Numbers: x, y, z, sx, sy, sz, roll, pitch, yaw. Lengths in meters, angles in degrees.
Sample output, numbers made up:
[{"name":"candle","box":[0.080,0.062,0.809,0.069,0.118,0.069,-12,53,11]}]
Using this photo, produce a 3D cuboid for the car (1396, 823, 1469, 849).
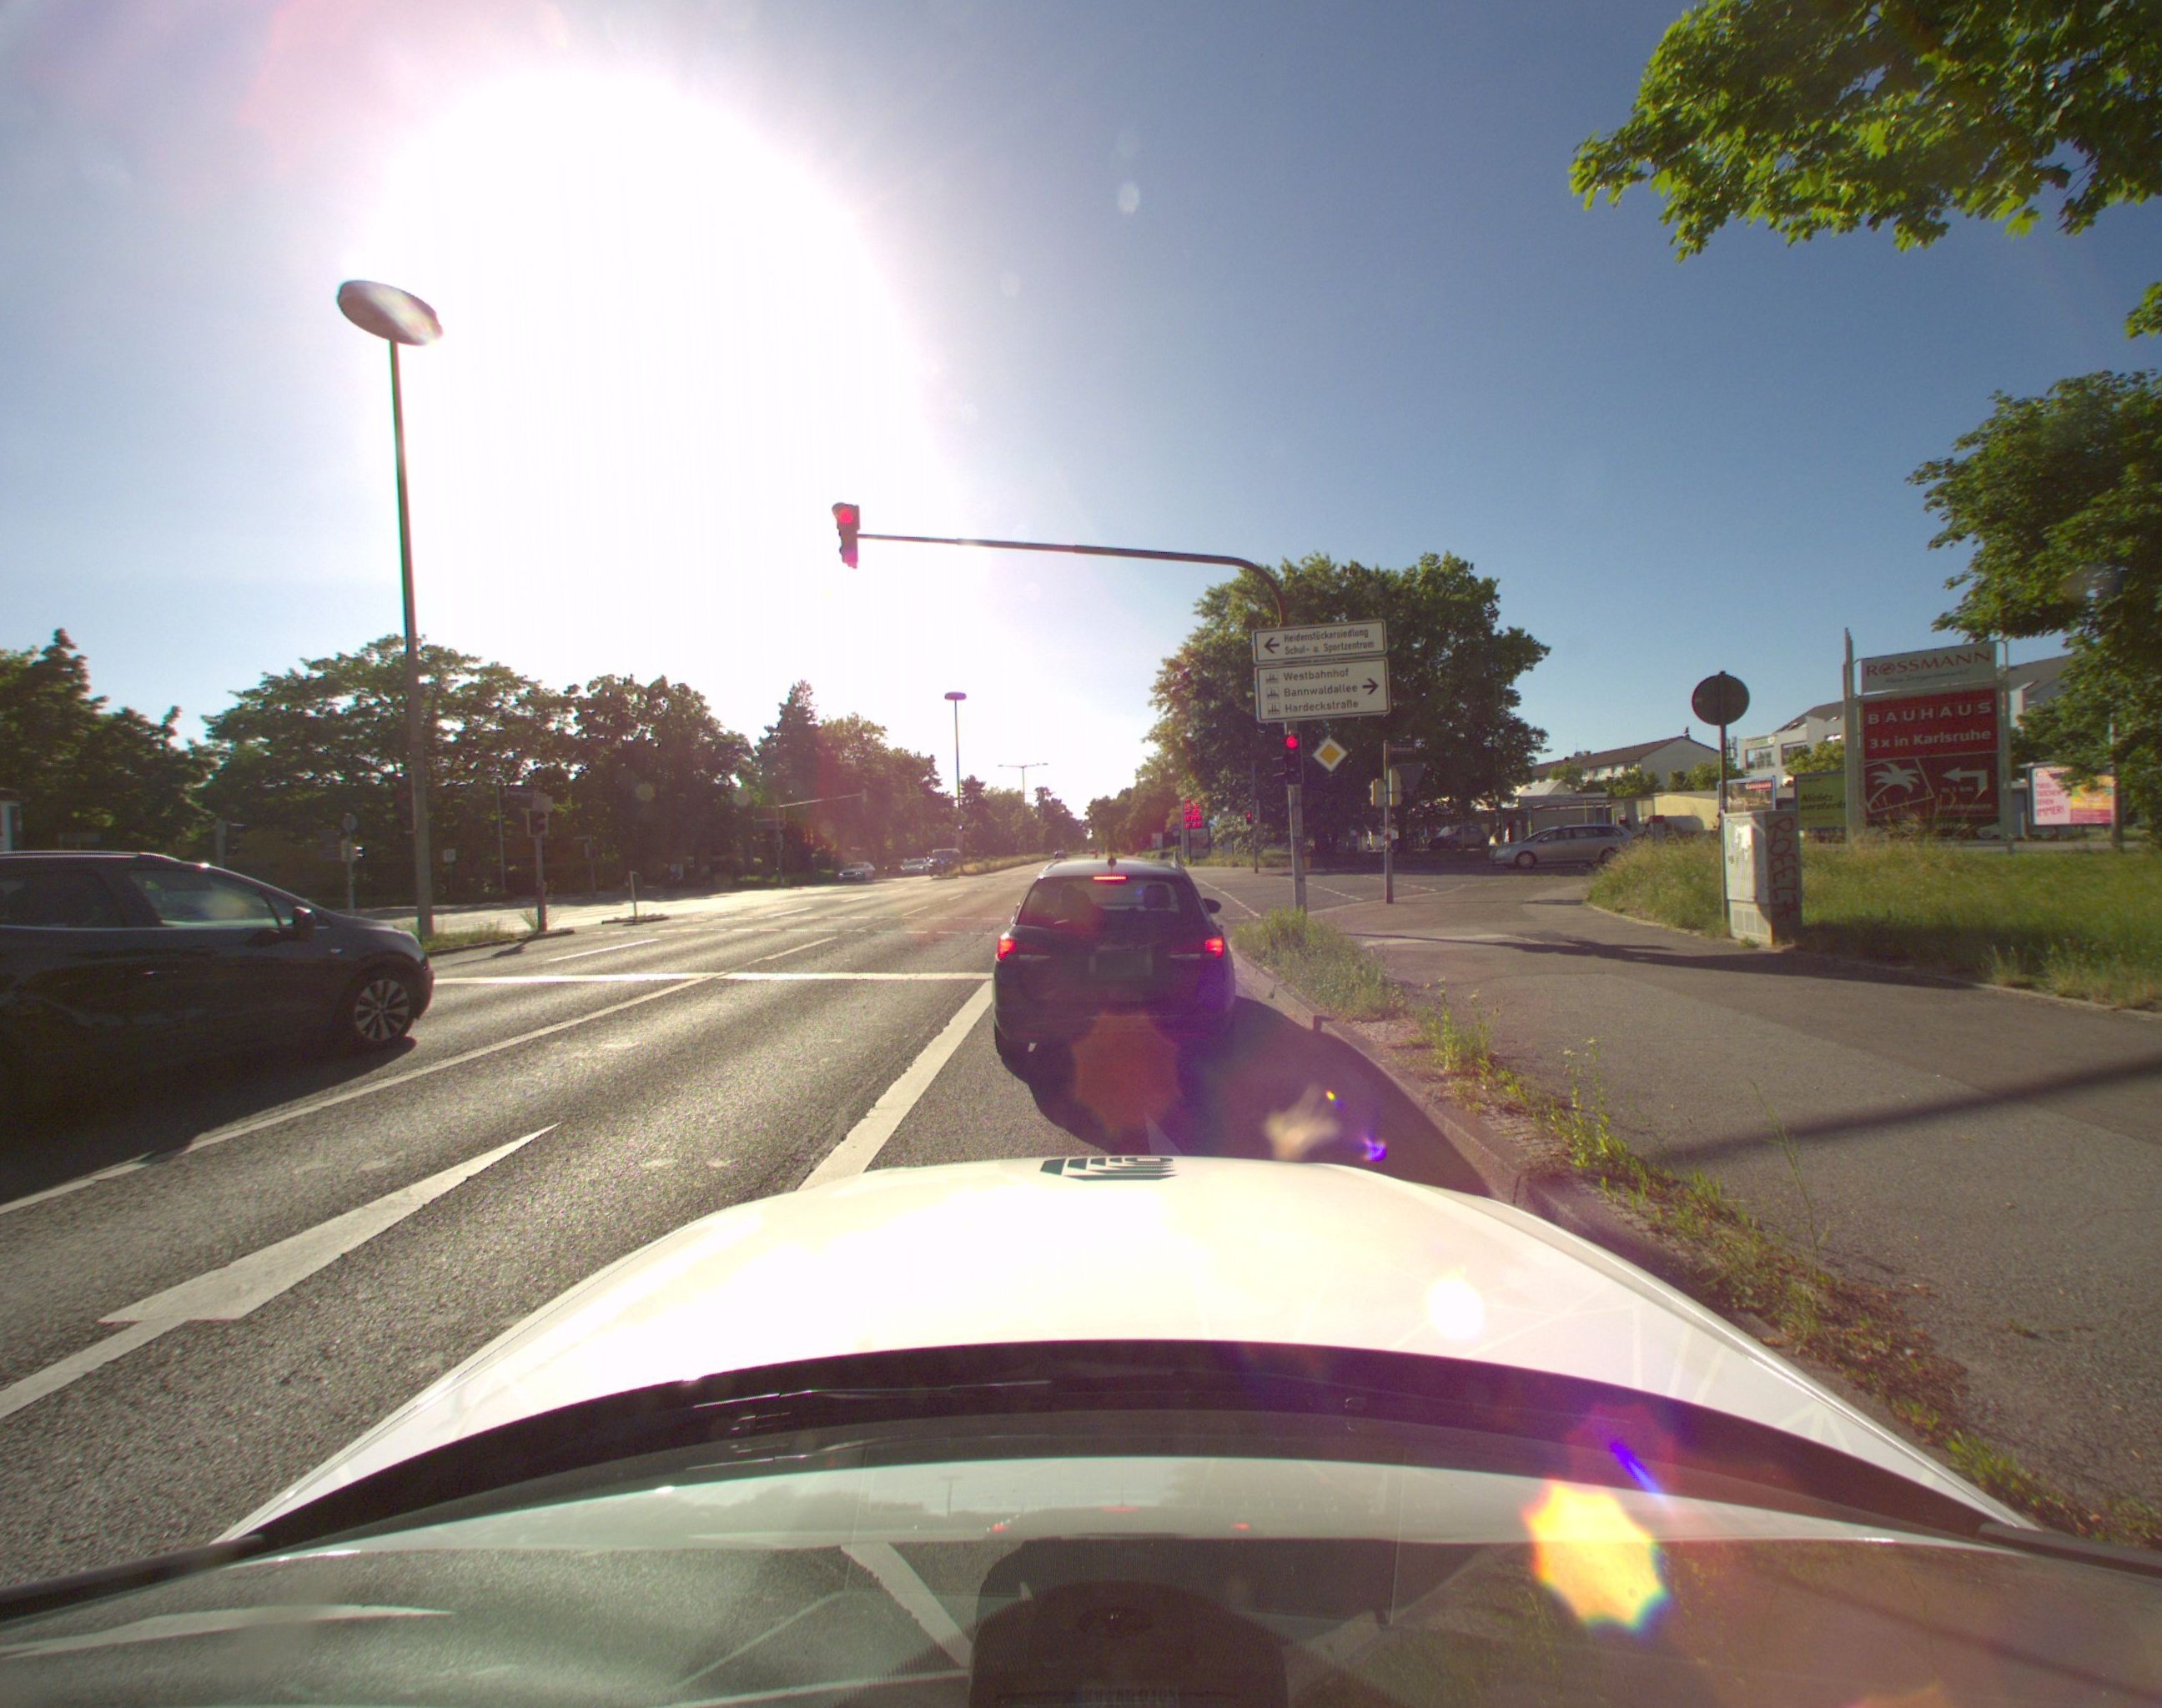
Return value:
[{"name":"car","box":[21.426,-1.069,49.652,3.846,1.482,1.794,0,0,-18]}]

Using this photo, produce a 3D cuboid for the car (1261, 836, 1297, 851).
[{"name":"car","box":[22.384,-1.136,92.092,3.701,1.685,1.703,0,0,-1]}]

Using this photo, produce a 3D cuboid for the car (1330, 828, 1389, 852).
[{"name":"car","box":[19.400,-0.968,56.685,3.860,1.563,1.787,0,-1,-31]}]

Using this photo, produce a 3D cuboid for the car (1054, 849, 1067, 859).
[{"name":"car","box":[-3.302,0.037,133.204,1.881,1.552,4.001,-2,0,2]}]

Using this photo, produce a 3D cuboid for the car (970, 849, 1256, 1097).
[{"name":"car","box":[0.253,0.753,6.992,1.749,1.509,3.810,-1,0,1]}]

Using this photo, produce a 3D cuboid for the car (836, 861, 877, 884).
[{"name":"car","box":[-17.252,1.395,62.758,1.857,1.684,4.262,-1,0,2]}]

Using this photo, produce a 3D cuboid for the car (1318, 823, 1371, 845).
[{"name":"car","box":[20.967,-1.598,64.954,3.701,1.685,1.703,0,0,-1]}]

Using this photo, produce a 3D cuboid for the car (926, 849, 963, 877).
[{"name":"car","box":[-10.169,0.679,61.020,1.986,2.014,4.001,0,0,2]}]

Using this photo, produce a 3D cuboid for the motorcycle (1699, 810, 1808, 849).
[{"name":"motorcycle","box":[22.575,-0.808,27.400,2.703,1.270,0.838,0,-1,17]}]

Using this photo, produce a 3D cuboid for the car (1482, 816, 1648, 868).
[{"name":"car","box":[16.913,-0.387,28.712,4.586,1.574,2.007,-2,-1,13]}]

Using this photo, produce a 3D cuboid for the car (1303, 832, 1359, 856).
[{"name":"car","box":[18.165,-0.708,59.185,3.729,1.685,1.690,0,-1,-25]}]

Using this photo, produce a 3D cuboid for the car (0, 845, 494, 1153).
[{"name":"car","box":[-6.541,0.796,5.572,1.689,1.632,4.419,-2,0,2]}]

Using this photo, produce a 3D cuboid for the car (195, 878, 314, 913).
[{"name":"car","box":[-36.793,1.831,36.297,3.892,1.423,1.876,0,0,12]}]

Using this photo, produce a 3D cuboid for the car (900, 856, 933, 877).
[{"name":"car","box":[-13.930,1.048,69.013,1.857,1.684,4.002,0,0,2]}]

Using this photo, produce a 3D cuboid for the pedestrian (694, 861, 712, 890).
[{"name":"pedestrian","box":[-24.879,1.402,53.641,0.841,1.835,0.550,-3,0,5]}]

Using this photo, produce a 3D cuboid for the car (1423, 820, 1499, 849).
[{"name":"car","box":[22.216,-1.111,47.669,3.846,1.612,1.794,0,0,-18]}]

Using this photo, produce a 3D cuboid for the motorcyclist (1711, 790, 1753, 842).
[{"name":"motorcyclist","box":[22.025,-1.269,27.553,0.853,1.680,0.838,0,-1,18]}]

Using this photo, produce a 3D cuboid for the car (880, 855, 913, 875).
[{"name":"car","box":[-17.450,1.002,77.184,1.986,1.750,4.002,-3,0,2]}]
